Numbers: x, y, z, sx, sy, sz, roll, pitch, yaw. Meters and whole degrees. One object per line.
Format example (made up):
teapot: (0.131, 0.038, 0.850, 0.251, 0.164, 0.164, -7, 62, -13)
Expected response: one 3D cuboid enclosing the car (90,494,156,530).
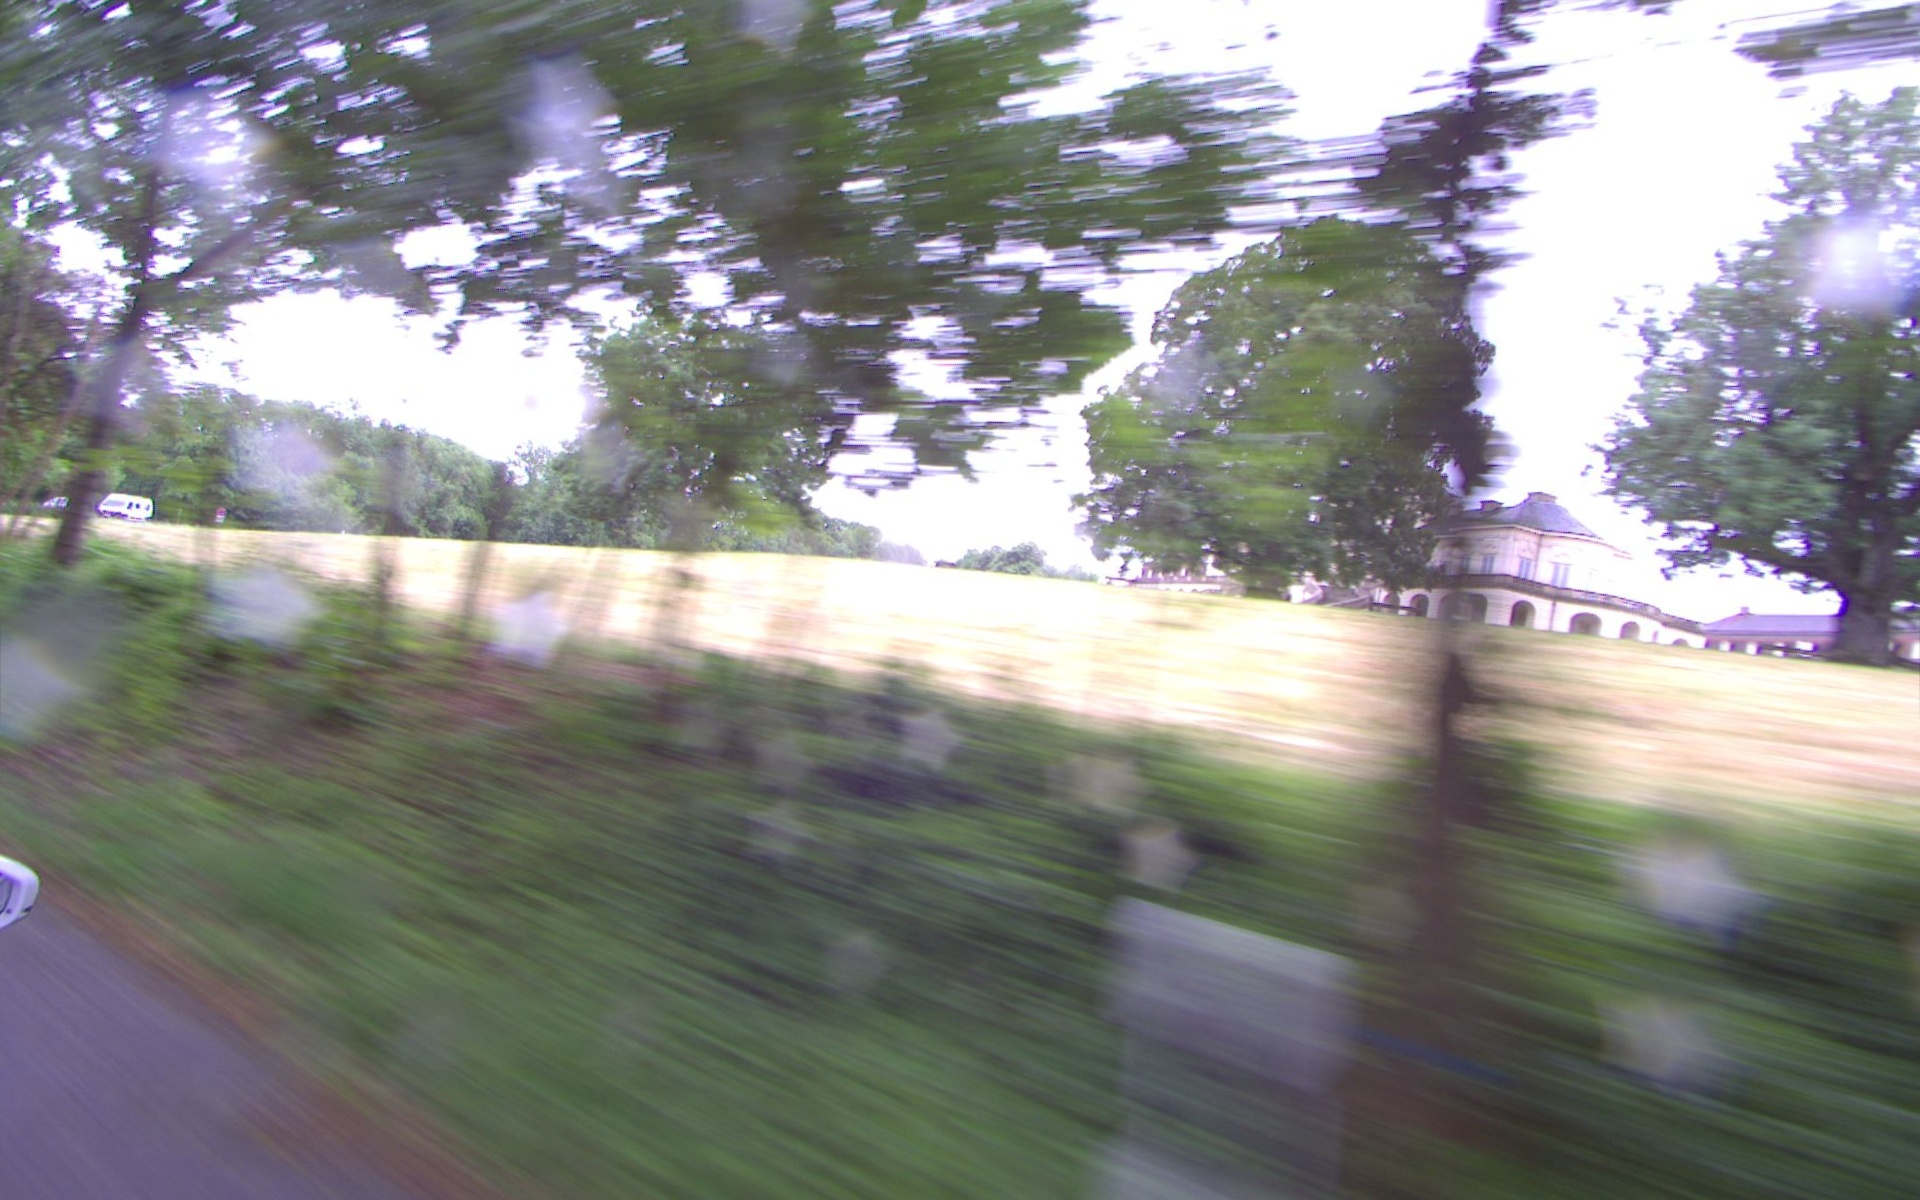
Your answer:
car: (-76.952, -8.015, 92.575, 2.245, 2.731, 6.026, 6, 1, -16)
